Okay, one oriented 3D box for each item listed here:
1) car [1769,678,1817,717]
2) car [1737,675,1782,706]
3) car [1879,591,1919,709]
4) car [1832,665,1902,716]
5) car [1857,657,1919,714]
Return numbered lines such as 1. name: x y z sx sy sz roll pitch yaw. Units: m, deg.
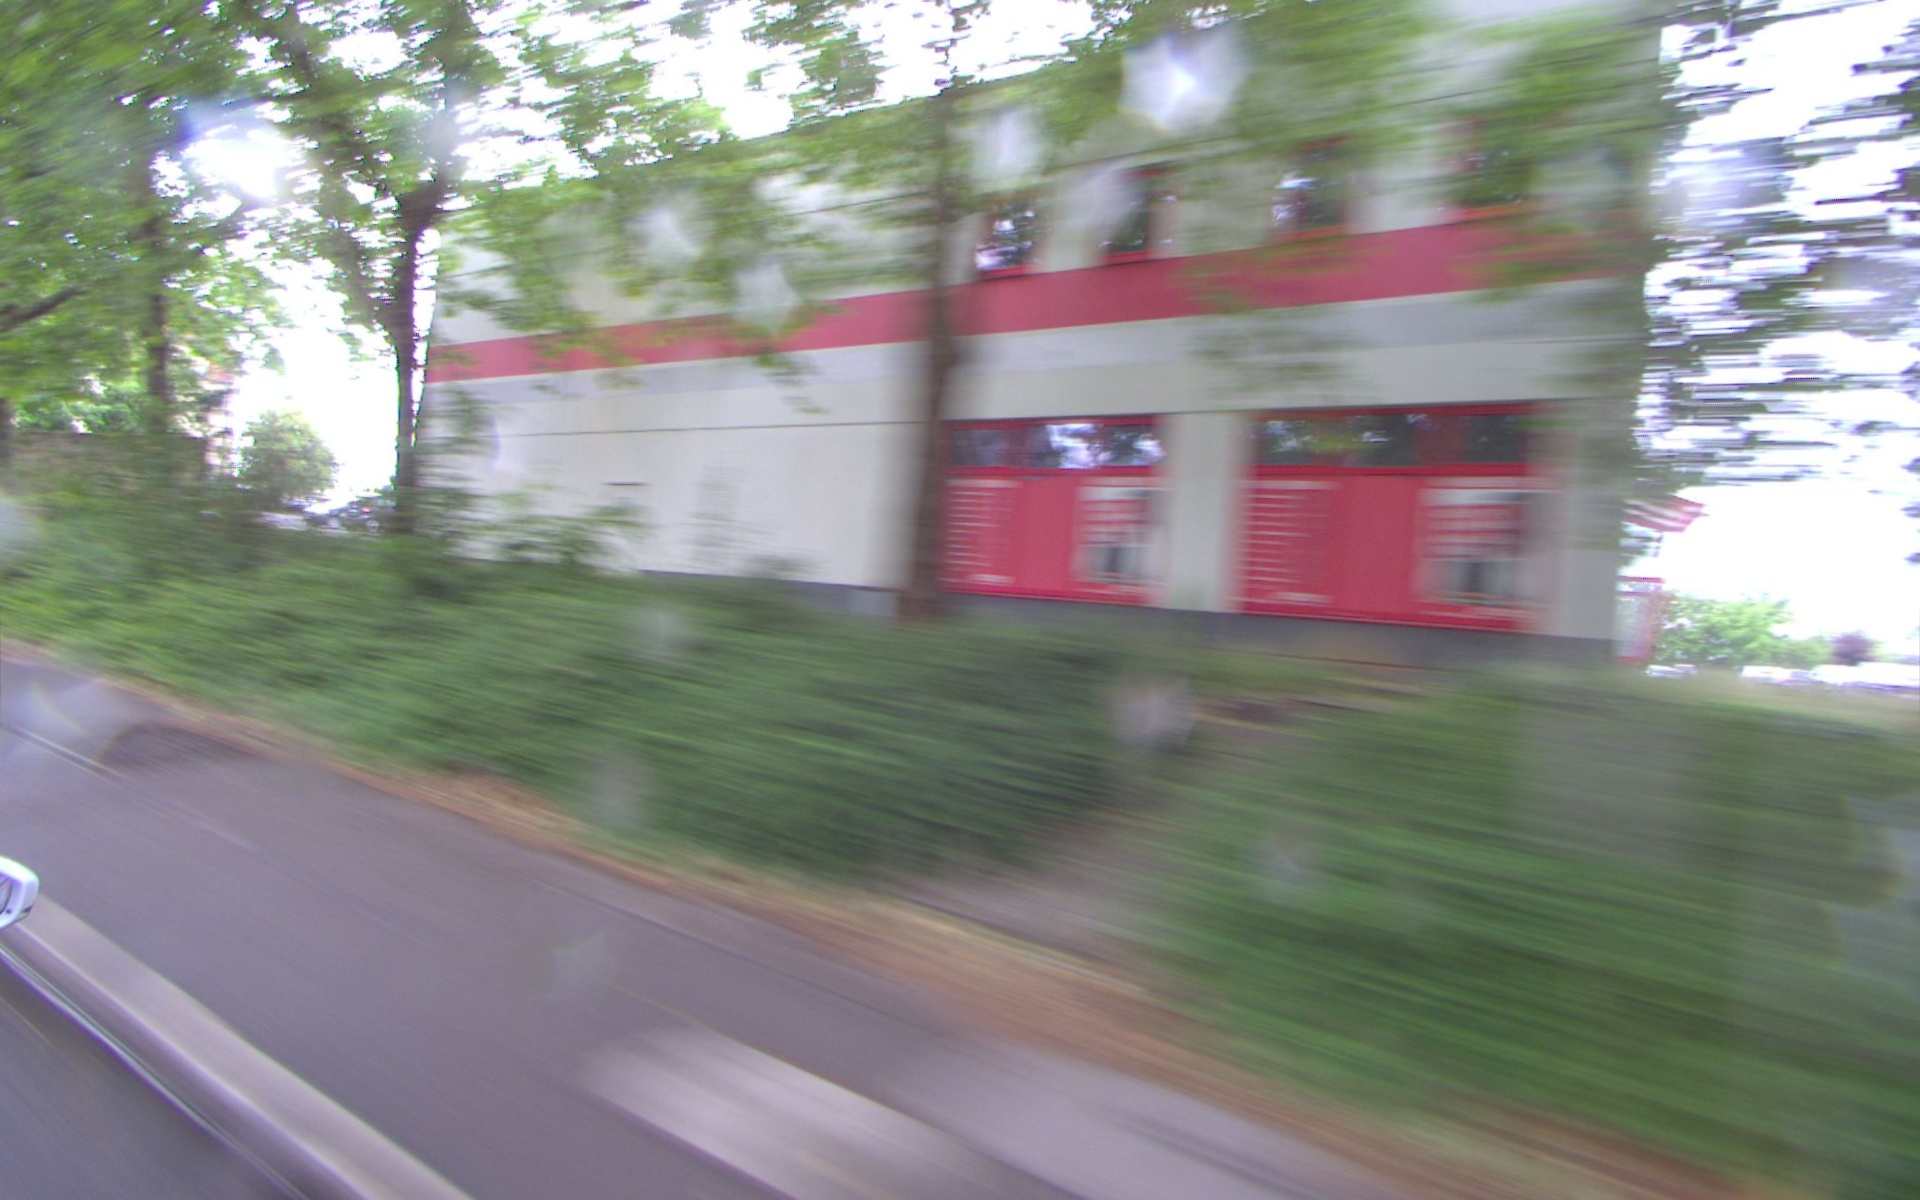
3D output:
1. car: 38.643 4.556 46.727 1.532 1.551 3.364 4 -4 38
2. car: 42.178 4.781 53.110 1.531 1.373 3.368 4 -4 34
3. car: 11.291 0.558 10.302 1.771 1.350 4.617 7 -1 31
4. car: 32.573 3.272 36.196 1.532 1.551 3.364 4 -4 38
5. car: 30.177 2.799 32.596 1.534 1.551 3.361 3 -4 41
